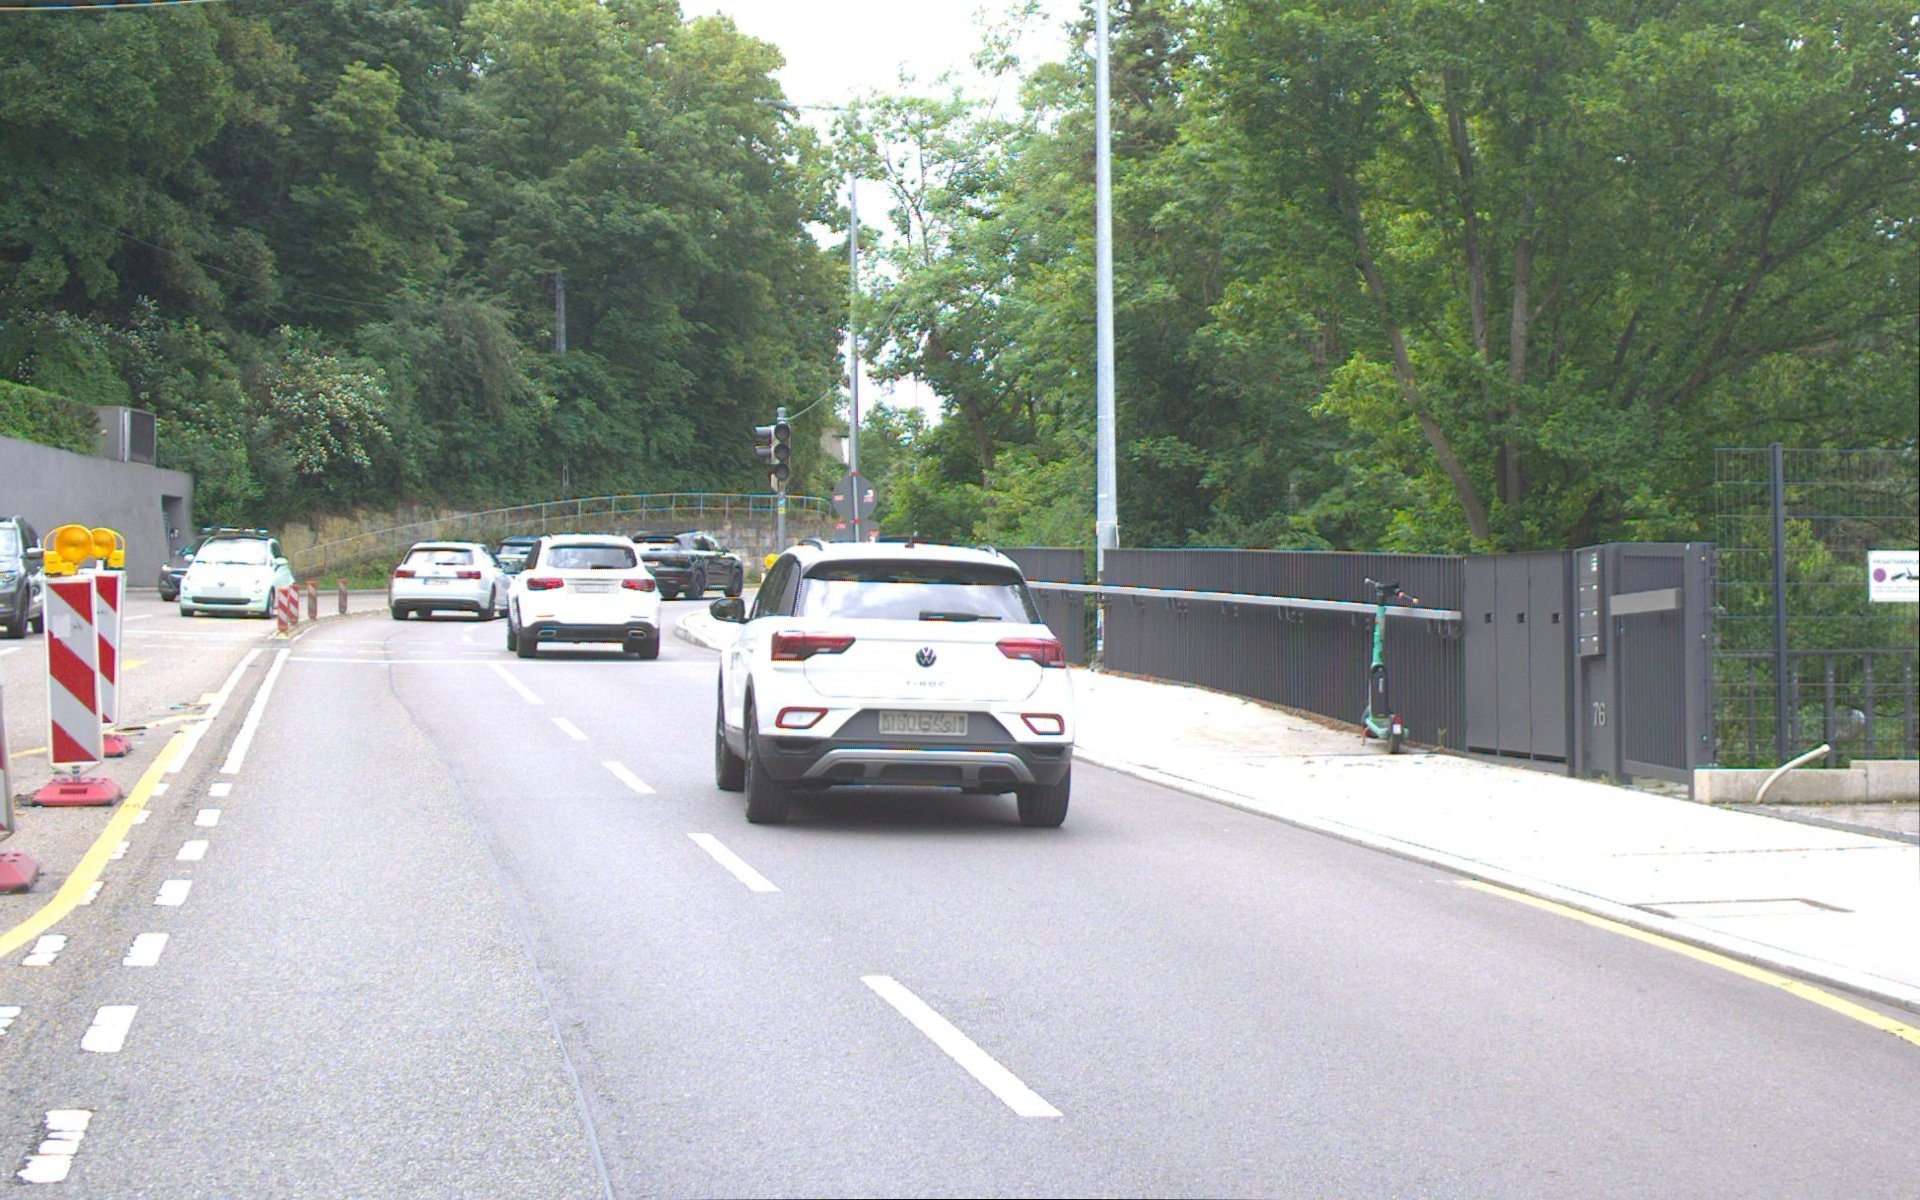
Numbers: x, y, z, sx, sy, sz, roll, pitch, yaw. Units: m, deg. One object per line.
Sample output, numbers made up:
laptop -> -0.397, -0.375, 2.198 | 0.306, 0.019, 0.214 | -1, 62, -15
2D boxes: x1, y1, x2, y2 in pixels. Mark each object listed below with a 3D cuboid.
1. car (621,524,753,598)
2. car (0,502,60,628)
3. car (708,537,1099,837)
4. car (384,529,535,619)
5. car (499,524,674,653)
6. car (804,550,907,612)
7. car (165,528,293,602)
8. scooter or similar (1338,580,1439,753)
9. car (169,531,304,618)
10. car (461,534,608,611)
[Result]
car -> -6.657, -0.933, 84.226 | 1.817, 1.684, 3.997 | 3, 0, 17
car -> -13.872, -0.537, 48.466 | 1.883, 1.691, 4.673 | 1, 1, -10
car -> -0.429, 0.430, 19.863 | 1.866, 1.531, 3.804 | 1, 1, -6
car -> -9.400, -0.483, 64.837 | 1.907, 1.568, 3.999 | 3, 0, 4
car -> -5.083, -0.182, 46.360 | 1.993, 1.581, 4.001 | 3, 0, -11
car -> -2.999, -0.542, 99.405 | 1.817, 1.684, 3.997 | 3, 0, 15
car -> -15.376, -0.752, 72.481 | 1.711, 1.461, 3.660 | 2, 1, 3
scooter or similar -> 3.185, 0.481, 25.636 | 0.534, 1.222, 1.206 | 0, 2, -3
car -> -13.195, -0.490, 62.866 | 1.711, 1.461, 3.661 | 2, 1, -1
car -> -9.181, -0.591, 74.479 | 1.994, 1.535, 4.008 | 3, 0, 10
